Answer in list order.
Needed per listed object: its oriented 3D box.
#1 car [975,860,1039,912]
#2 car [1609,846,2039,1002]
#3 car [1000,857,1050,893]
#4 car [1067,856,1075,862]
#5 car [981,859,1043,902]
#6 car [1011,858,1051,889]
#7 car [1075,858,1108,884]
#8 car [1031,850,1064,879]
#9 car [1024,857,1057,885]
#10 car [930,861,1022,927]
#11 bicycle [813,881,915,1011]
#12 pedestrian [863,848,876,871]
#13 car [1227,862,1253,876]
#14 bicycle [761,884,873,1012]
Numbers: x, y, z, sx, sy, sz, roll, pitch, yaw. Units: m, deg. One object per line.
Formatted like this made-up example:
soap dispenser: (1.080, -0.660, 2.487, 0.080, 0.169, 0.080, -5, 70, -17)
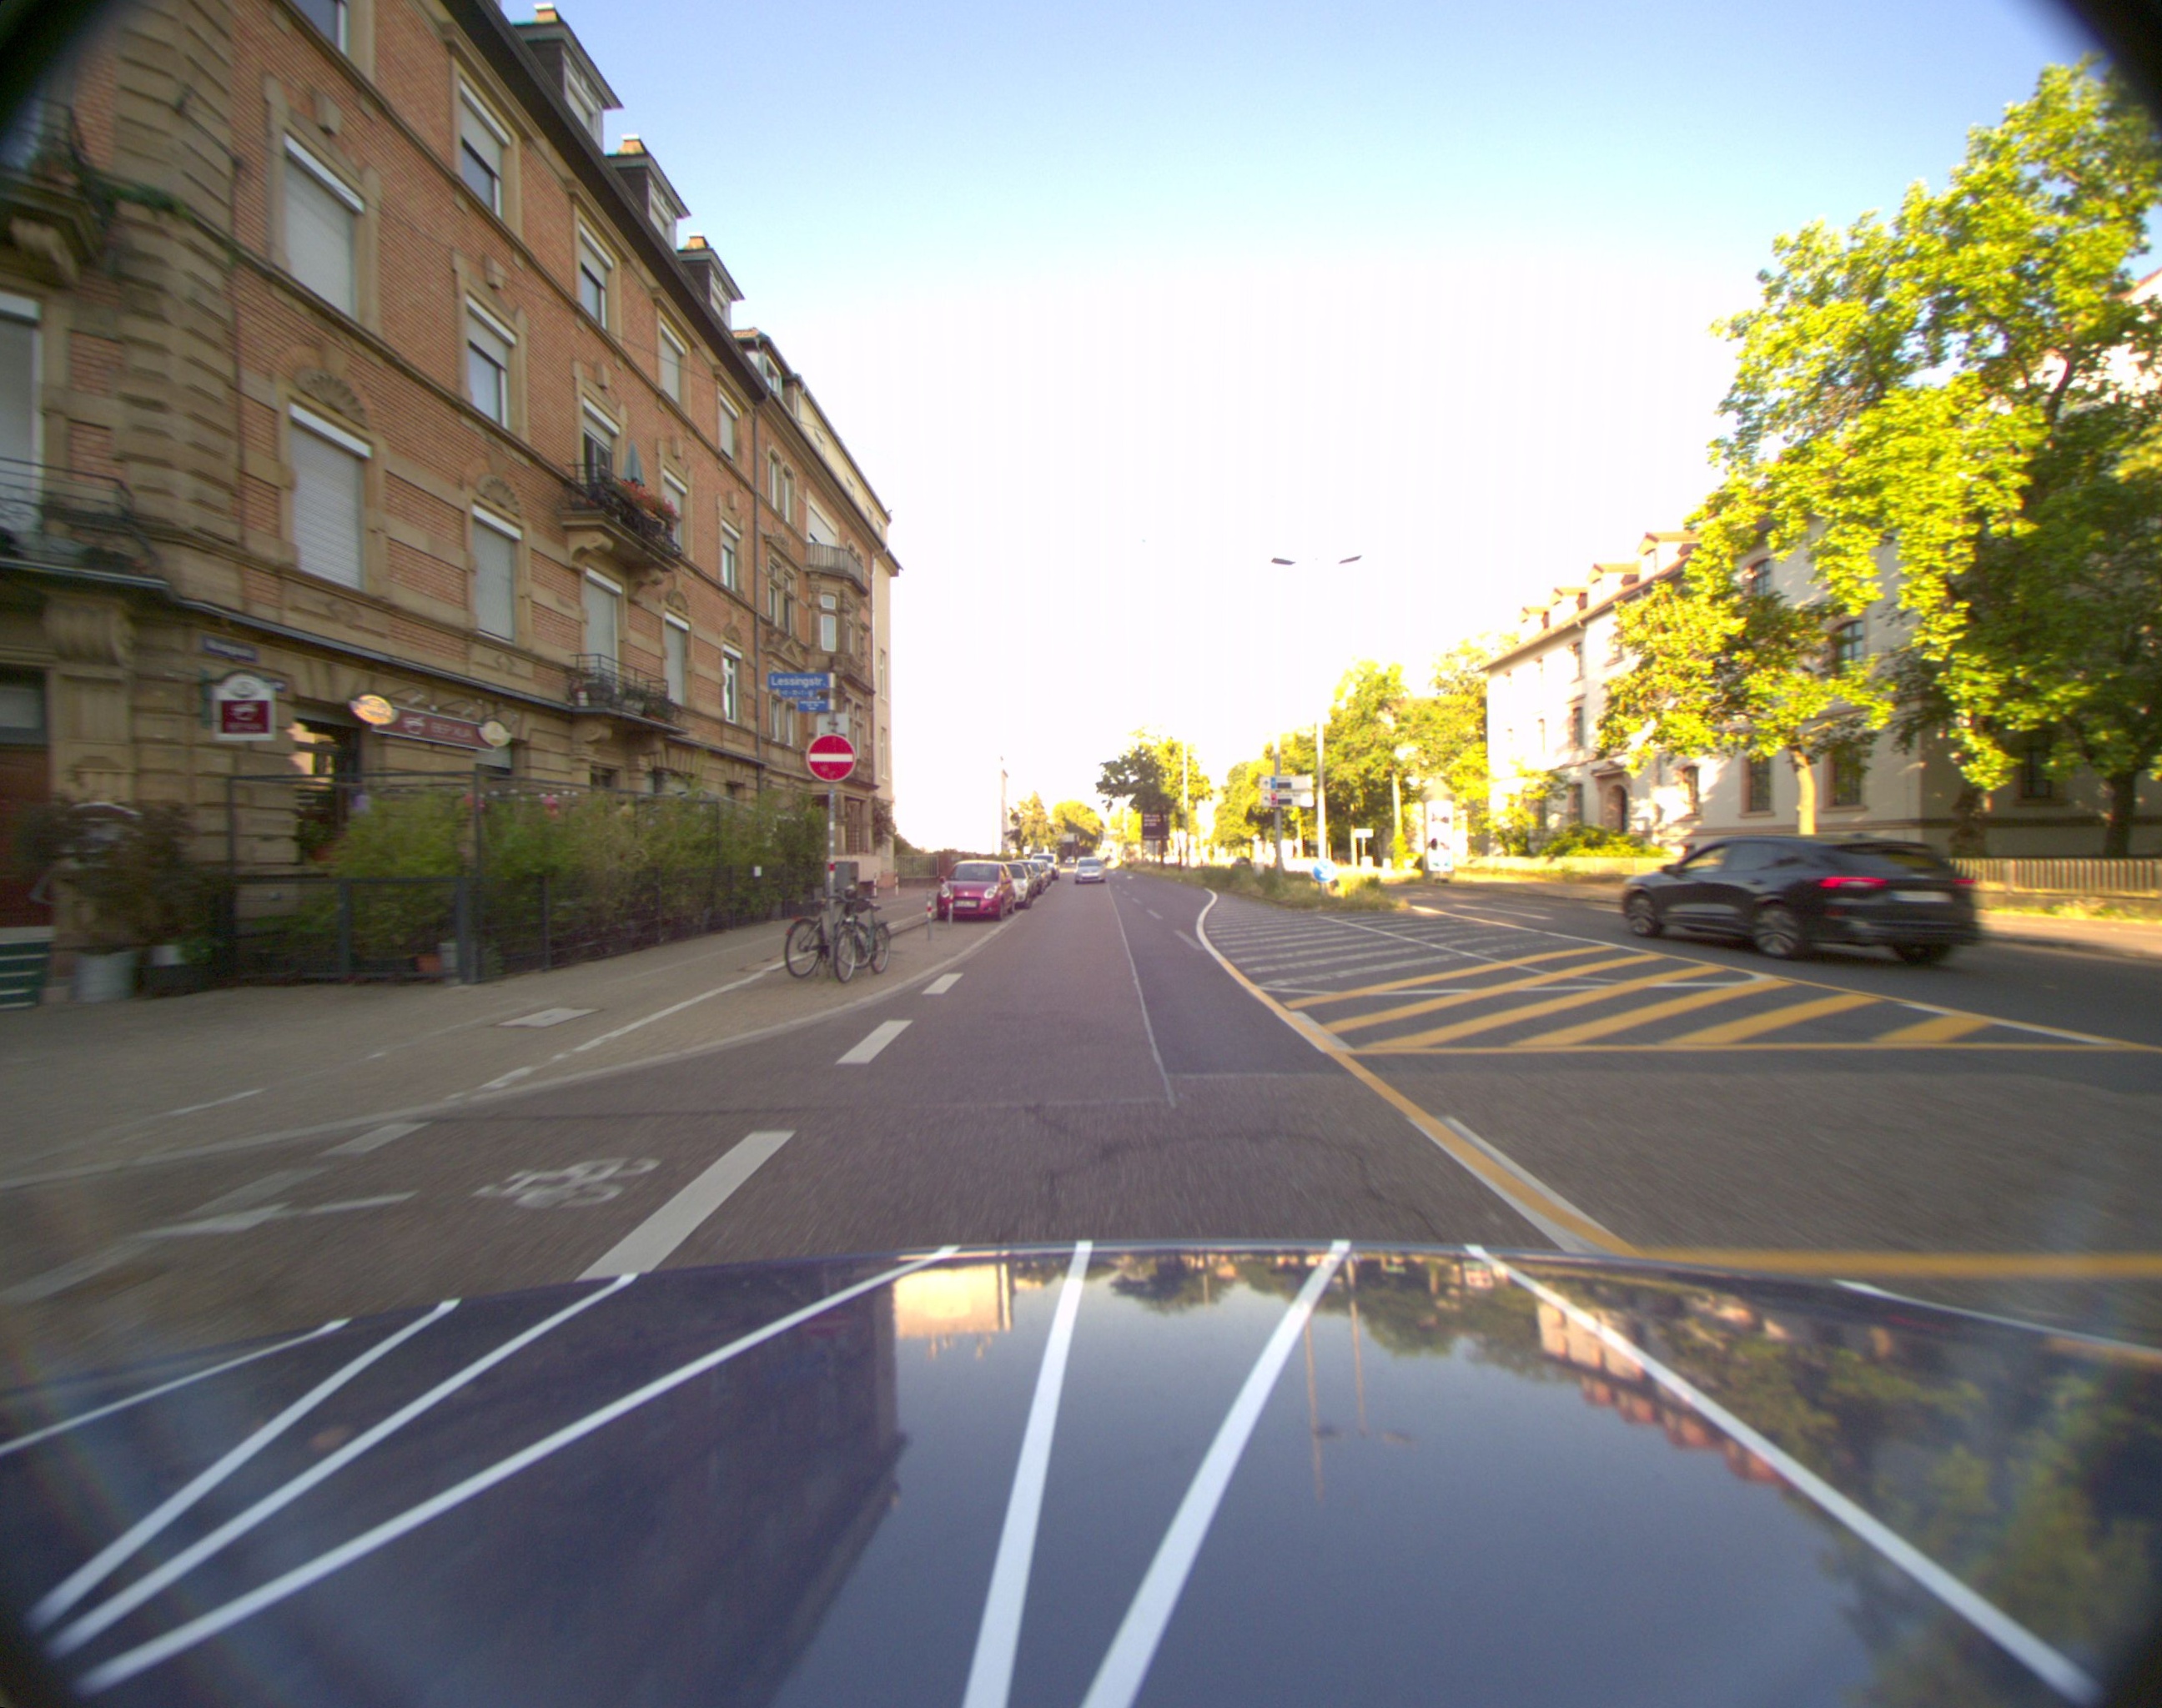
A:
car: (-2.292, 0.963, 24.232, 1.681, 1.418, 3.676, 2, 0, -1)
car: (9.933, 0.768, 10.846, 1.880, 1.696, 4.569, 2, 1, 5)
car: (-2.454, 0.904, 34.388, 1.892, 1.439, 4.463, 2, 0, 0)
car: (-2.475, 1.213, 184.975, 1.948, 1.514, 4.163, 0, 0, -1)
car: (-2.562, 0.955, 29.076, 1.892, 1.418, 4.342, 2, 0, 1)
car: (-2.482, 0.942, 38.667, 1.751, 1.418, 3.840, 2, 0, 0)
car: (0.605, 0.999, 45.571, 1.895, 1.454, 3.966, 0, 0, 0)
car: (-2.360, 0.735, 54.698, 1.892, 1.907, 5.180, 2, 0, 2)
car: (-2.305, 0.950, 43.622, 1.705, 1.479, 3.892, 2, 0, -1)
car: (-2.633, 0.961, 19.799, 1.730, 1.456, 3.547, 2, 0, 2)
bicycle: (-2.677, 1.073, 9.621, 0.567, 1.292, 2.264, 3, 2, 1)
pedestrian: (-8.338, 0.210, 29.990, 0.309, 0.865, 0.320, -2, 1, 33)
car: (16.160, 1.524, 77.314, 1.778, 1.266, 4.008, 2, 0, 1)
bicycle: (-3.260, 1.095, 9.621, 0.567, 1.268, 2.264, 3, 2, 1)
